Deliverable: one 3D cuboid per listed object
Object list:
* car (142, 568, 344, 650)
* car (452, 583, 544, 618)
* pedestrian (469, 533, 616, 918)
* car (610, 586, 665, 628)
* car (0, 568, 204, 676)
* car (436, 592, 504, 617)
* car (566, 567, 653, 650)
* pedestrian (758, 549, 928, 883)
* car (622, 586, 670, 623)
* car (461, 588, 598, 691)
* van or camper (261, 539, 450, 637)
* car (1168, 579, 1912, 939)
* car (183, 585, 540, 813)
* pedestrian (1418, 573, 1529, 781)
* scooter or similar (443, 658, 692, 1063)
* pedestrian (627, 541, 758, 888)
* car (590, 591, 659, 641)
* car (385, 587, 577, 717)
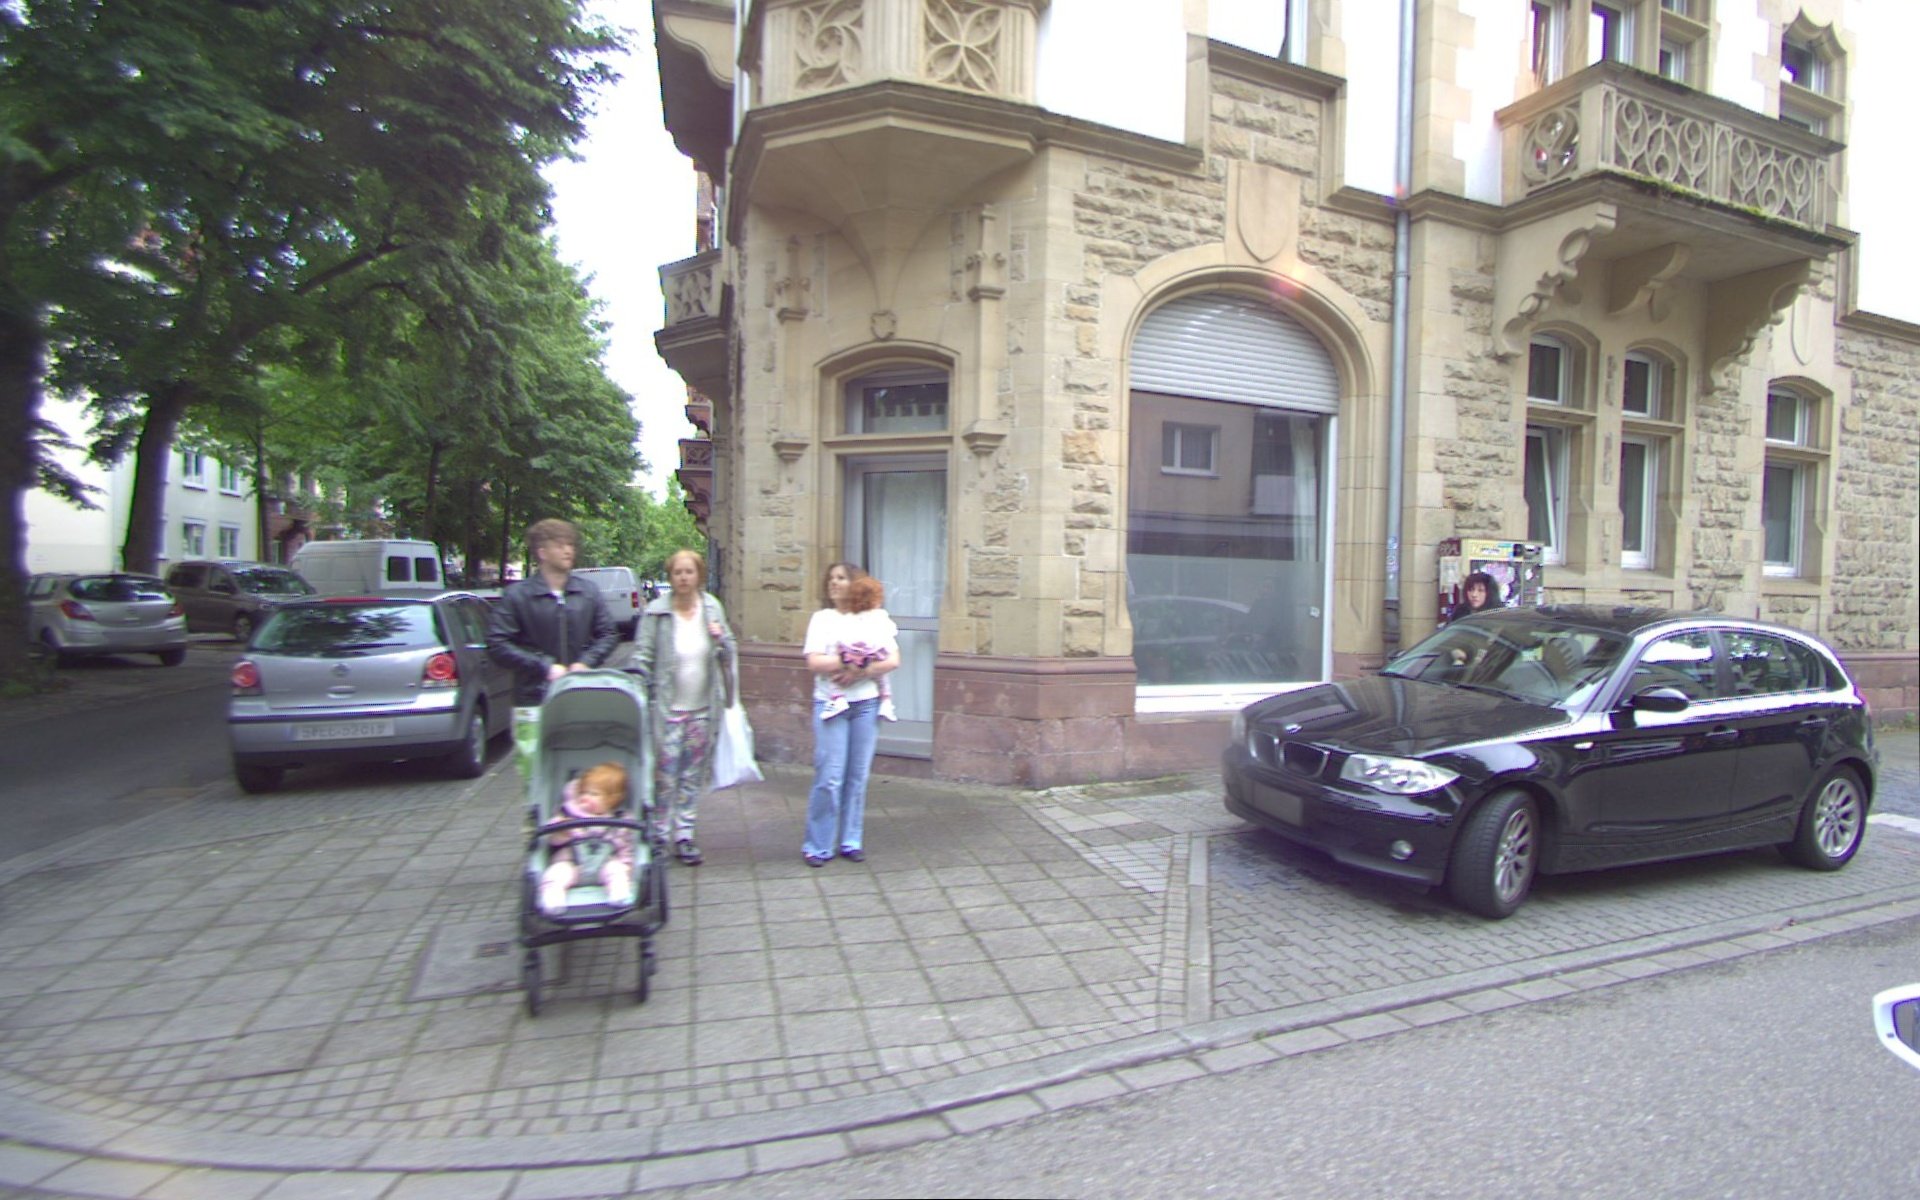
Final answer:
[{"bbox_3d":[-15.522,0.184,21.759,3.685,1.537,1.757,3,0,20],"label":"car"},{"bbox_3d":[-20.746,0.004,45.161,3.299,1.476,1.899,1,1,12],"label":"car"},{"bbox_3d":[-1.903,0.539,4.628,0.519,1.665,0.528,1,2,-12],"label":"pedestrian"},{"bbox_3d":[-12.441,0.227,38.927,1.691,1.530,3.547,1,1,-13],"label":"car"},{"bbox_3d":[-14.057,0.306,16.188,3.595,1.500,1.775,2,0,32],"label":"car"},{"bbox_3d":[-19.085,0.156,39.076,2.567,0.919,1.275,1,1,34],"label":"car"},{"bbox_3d":[-9.524,0.187,27.515,1.880,2.035,3.522,2,2,-15],"label":"car"},{"bbox_3d":[-0.596,0.554,5.249,0.656,1.615,0.631,2,2,17],"label":"pedestrian"},{"bbox_3d":[-13.567,0.170,43.594,1.691,1.530,3.547,1,1,-13],"label":"car"},{"bbox_3d":[-7.377,0.616,17.499,1.622,1.480,3.491,2,2,-14],"label":"car"},{"bbox_3d":[-16.756,-0.356,27.790,5.201,2.494,2.071,1,1,27],"label":"van or camper"},{"bbox_3d":[3.368,0.670,5.868,3.942,1.515,1.705,0,3,-23],"label":"car"},{"bbox_3d":[-4.755,0.655,8.556,1.622,1.480,3.570,-1,0,-14],"label":"car"},{"bbox_3d":[3.950,0.567,7.742,0.539,1.539,0.514,1,1,-24],"label":"pedestrian"},{"bbox_3d":[-1.441,0.869,3.930,0.664,1.119,1.470,1,3,-12],"label":"scooter or similar"},{"bbox_3d":[-1.354,0.546,5.167,0.593,1.665,0.617,1,2,-12],"label":"pedestrian"},{"bbox_3d":[-10.449,0.465,31.441,1.691,1.417,3.310,1,1,-13],"label":"car"},{"bbox_3d":[-6.180,0.588,13.339,1.622,1.480,3.491,1,0,-14],"label":"car"}]
